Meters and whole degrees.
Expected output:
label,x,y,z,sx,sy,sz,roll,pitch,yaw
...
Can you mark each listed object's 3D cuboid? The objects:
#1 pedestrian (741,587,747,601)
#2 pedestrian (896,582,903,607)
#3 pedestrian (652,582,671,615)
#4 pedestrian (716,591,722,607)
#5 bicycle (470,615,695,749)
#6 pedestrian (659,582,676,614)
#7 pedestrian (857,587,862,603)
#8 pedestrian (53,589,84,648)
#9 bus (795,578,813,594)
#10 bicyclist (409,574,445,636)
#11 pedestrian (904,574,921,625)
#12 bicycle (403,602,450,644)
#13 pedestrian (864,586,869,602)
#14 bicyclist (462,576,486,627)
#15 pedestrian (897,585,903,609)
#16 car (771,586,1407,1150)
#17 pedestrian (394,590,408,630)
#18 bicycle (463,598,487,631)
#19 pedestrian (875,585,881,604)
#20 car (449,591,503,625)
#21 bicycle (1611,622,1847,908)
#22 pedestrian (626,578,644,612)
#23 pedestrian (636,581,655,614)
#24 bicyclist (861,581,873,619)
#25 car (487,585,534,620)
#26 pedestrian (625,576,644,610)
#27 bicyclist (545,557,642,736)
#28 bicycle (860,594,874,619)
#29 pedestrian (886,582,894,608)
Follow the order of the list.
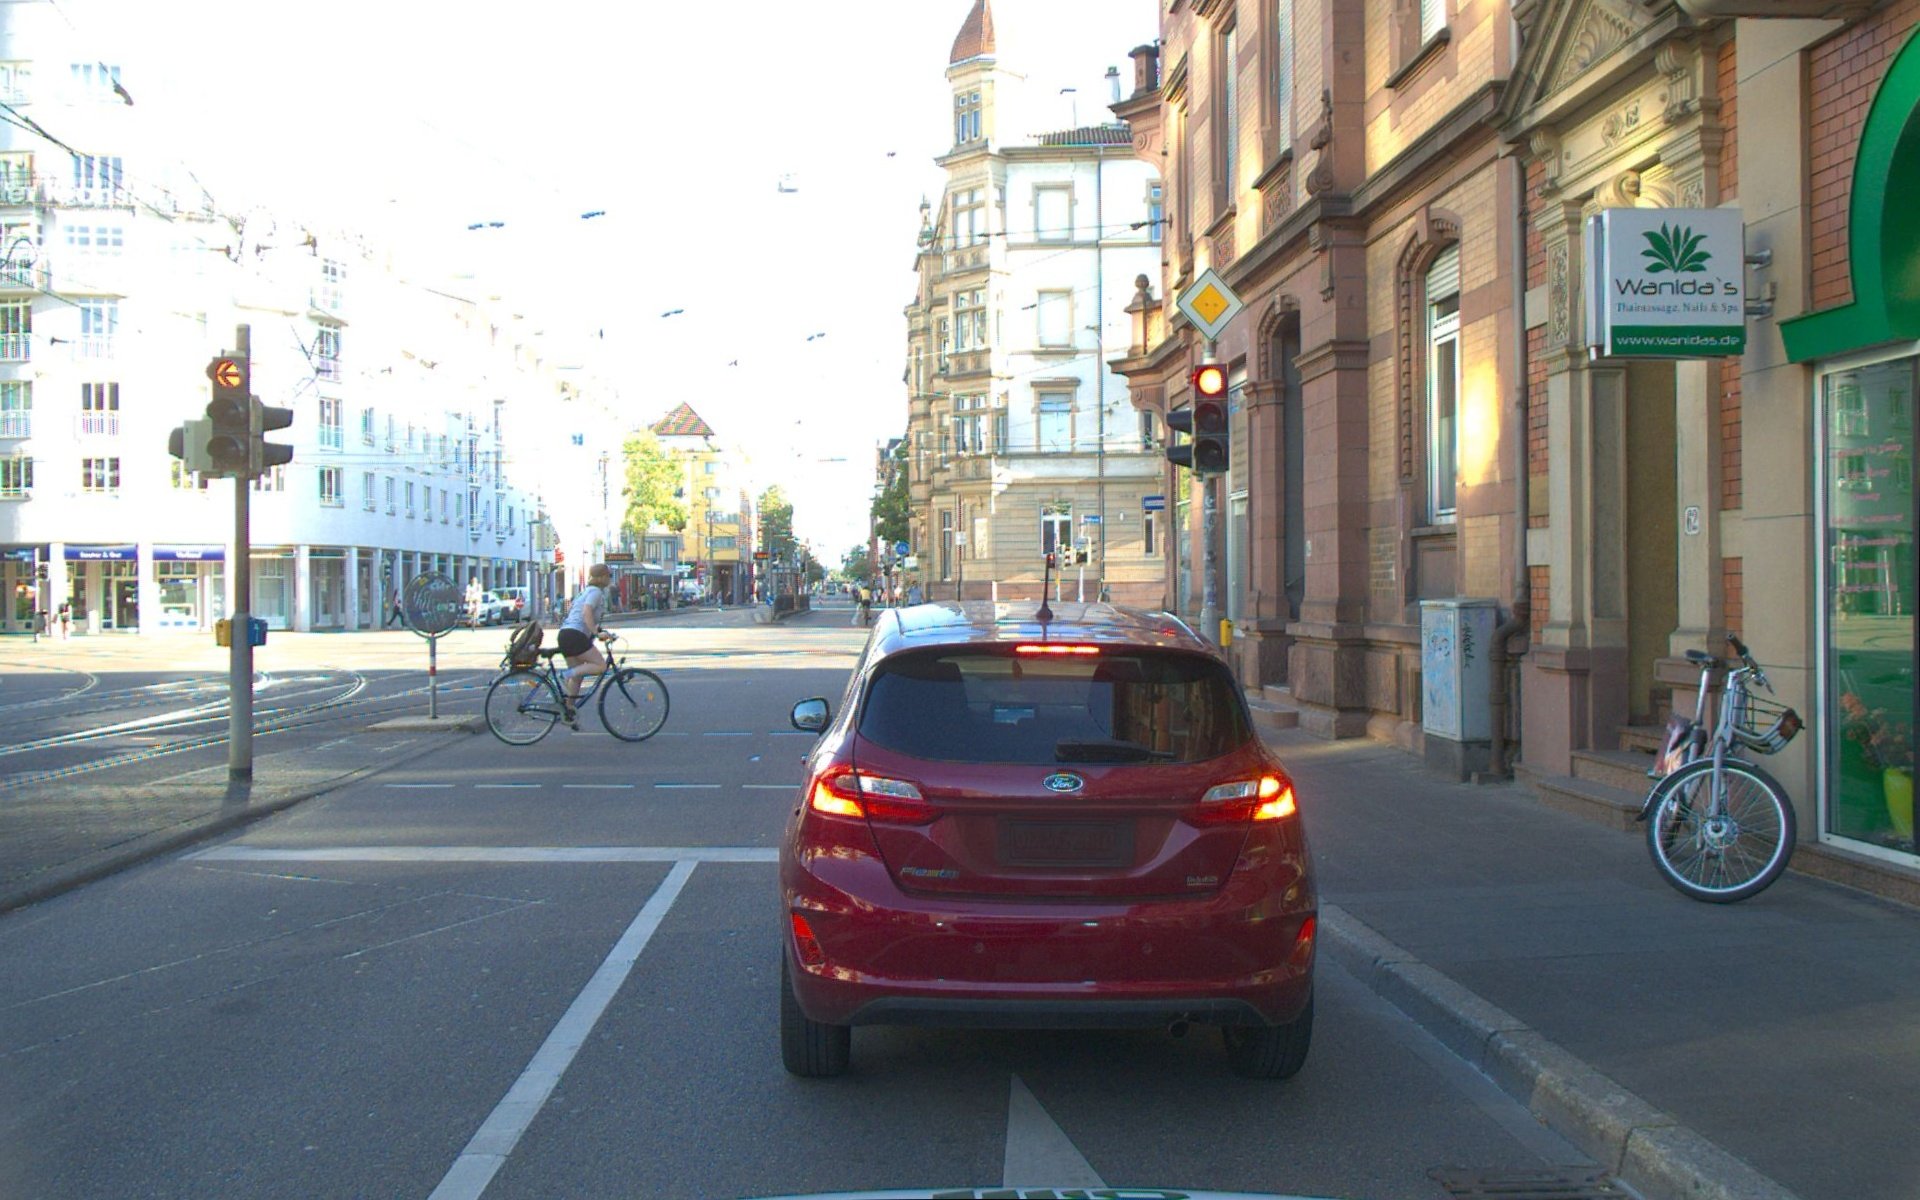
label,x,y,z,sx,sy,sz,roll,pitch,yaw
pedestrian,-25.741,-0.683,196.797,0.619,1.632,0.575,-1,0,-20
pedestrian,-4.943,-0.438,134.967,0.565,2.049,0.631,-1,0,2
pedestrian,-18.539,-0.107,102.743,1.025,2.049,0.958,-1,0,-6
pedestrian,-24.011,-0.103,164.846,0.513,1.514,0.582,-1,0,-2
bicycle,-3.580,0.752,15.734,1.996,1.198,0.622,0,0,-29
pedestrian,-18.686,-0.143,105.660,1.025,2.049,0.958,-1,0,-6
pedestrian,-12.472,-0.630,204.721,0.565,1.920,0.669,-1,0,-3
pedestrian,-31.677,0.639,58.759,0.934,2.049,0.930,-1,0,-31
bus,-20.464,-1.836,216.974,1.887,2.049,7.134,-1,0,-2
bicyclist,-15.309,0.129,47.504,0.791,1.756,0.794,-1,0,-4
pedestrian,-1.933,-0.020,67.724,0.638,2.049,0.759,-1,0,-4
bicycle,-15.298,0.642,47.443,0.791,1.167,2.048,-1,0,-4
pedestrian,-11.324,-0.677,200.848,0.565,1.920,0.630,-1,0,-3
bicyclist,-17.976,0.051,61.202,0.795,1.853,0.988,-1,0,-18
pedestrian,-4.264,-0.213,117.646,0.405,1.710,0.484,-1,0,-1
car,0.189,0.711,6.426,1.720,1.492,3.941,1,0,-5
pedestrian,-24.672,0.437,72.995,0.514,1.711,0.485,-1,0,-11
bicycle,-18.003,0.524,61.330,0.795,1.167,2.000,-1,0,-18
pedestrian,-8.717,-0.609,175.232,0.565,2.049,0.630,-1,0,-3
car,-23.354,0.360,79.930,1.730,1.573,3.459,-1,0,-3
bicycle,3.626,0.727,7.935,0.700,1.172,1.656,-2,0,15
pedestrian,-19.809,-0.299,100.748,0.937,2.049,1.048,-1,0,-4
pedestrian,-19.964,-0.158,105.012,1.025,2.049,0.958,-1,0,-6
bicyclist,-4.244,-0.013,75.285,0.489,1.705,0.545,-1,0,1
car,-23.752,0.121,87.493,1.667,1.748,3.561,-1,0,-4
pedestrian,-20.166,-0.432,102.401,1.025,2.049,0.958,-1,0,-6
bicyclist,-3.499,0.423,15.783,0.721,1.655,0.758,0,0,-29
bicycle,-4.235,0.290,75.455,0.515,1.108,1.486,-1,0,1
pedestrian,-5.553,-0.427,131.605,0.565,2.049,0.631,-1,0,2
